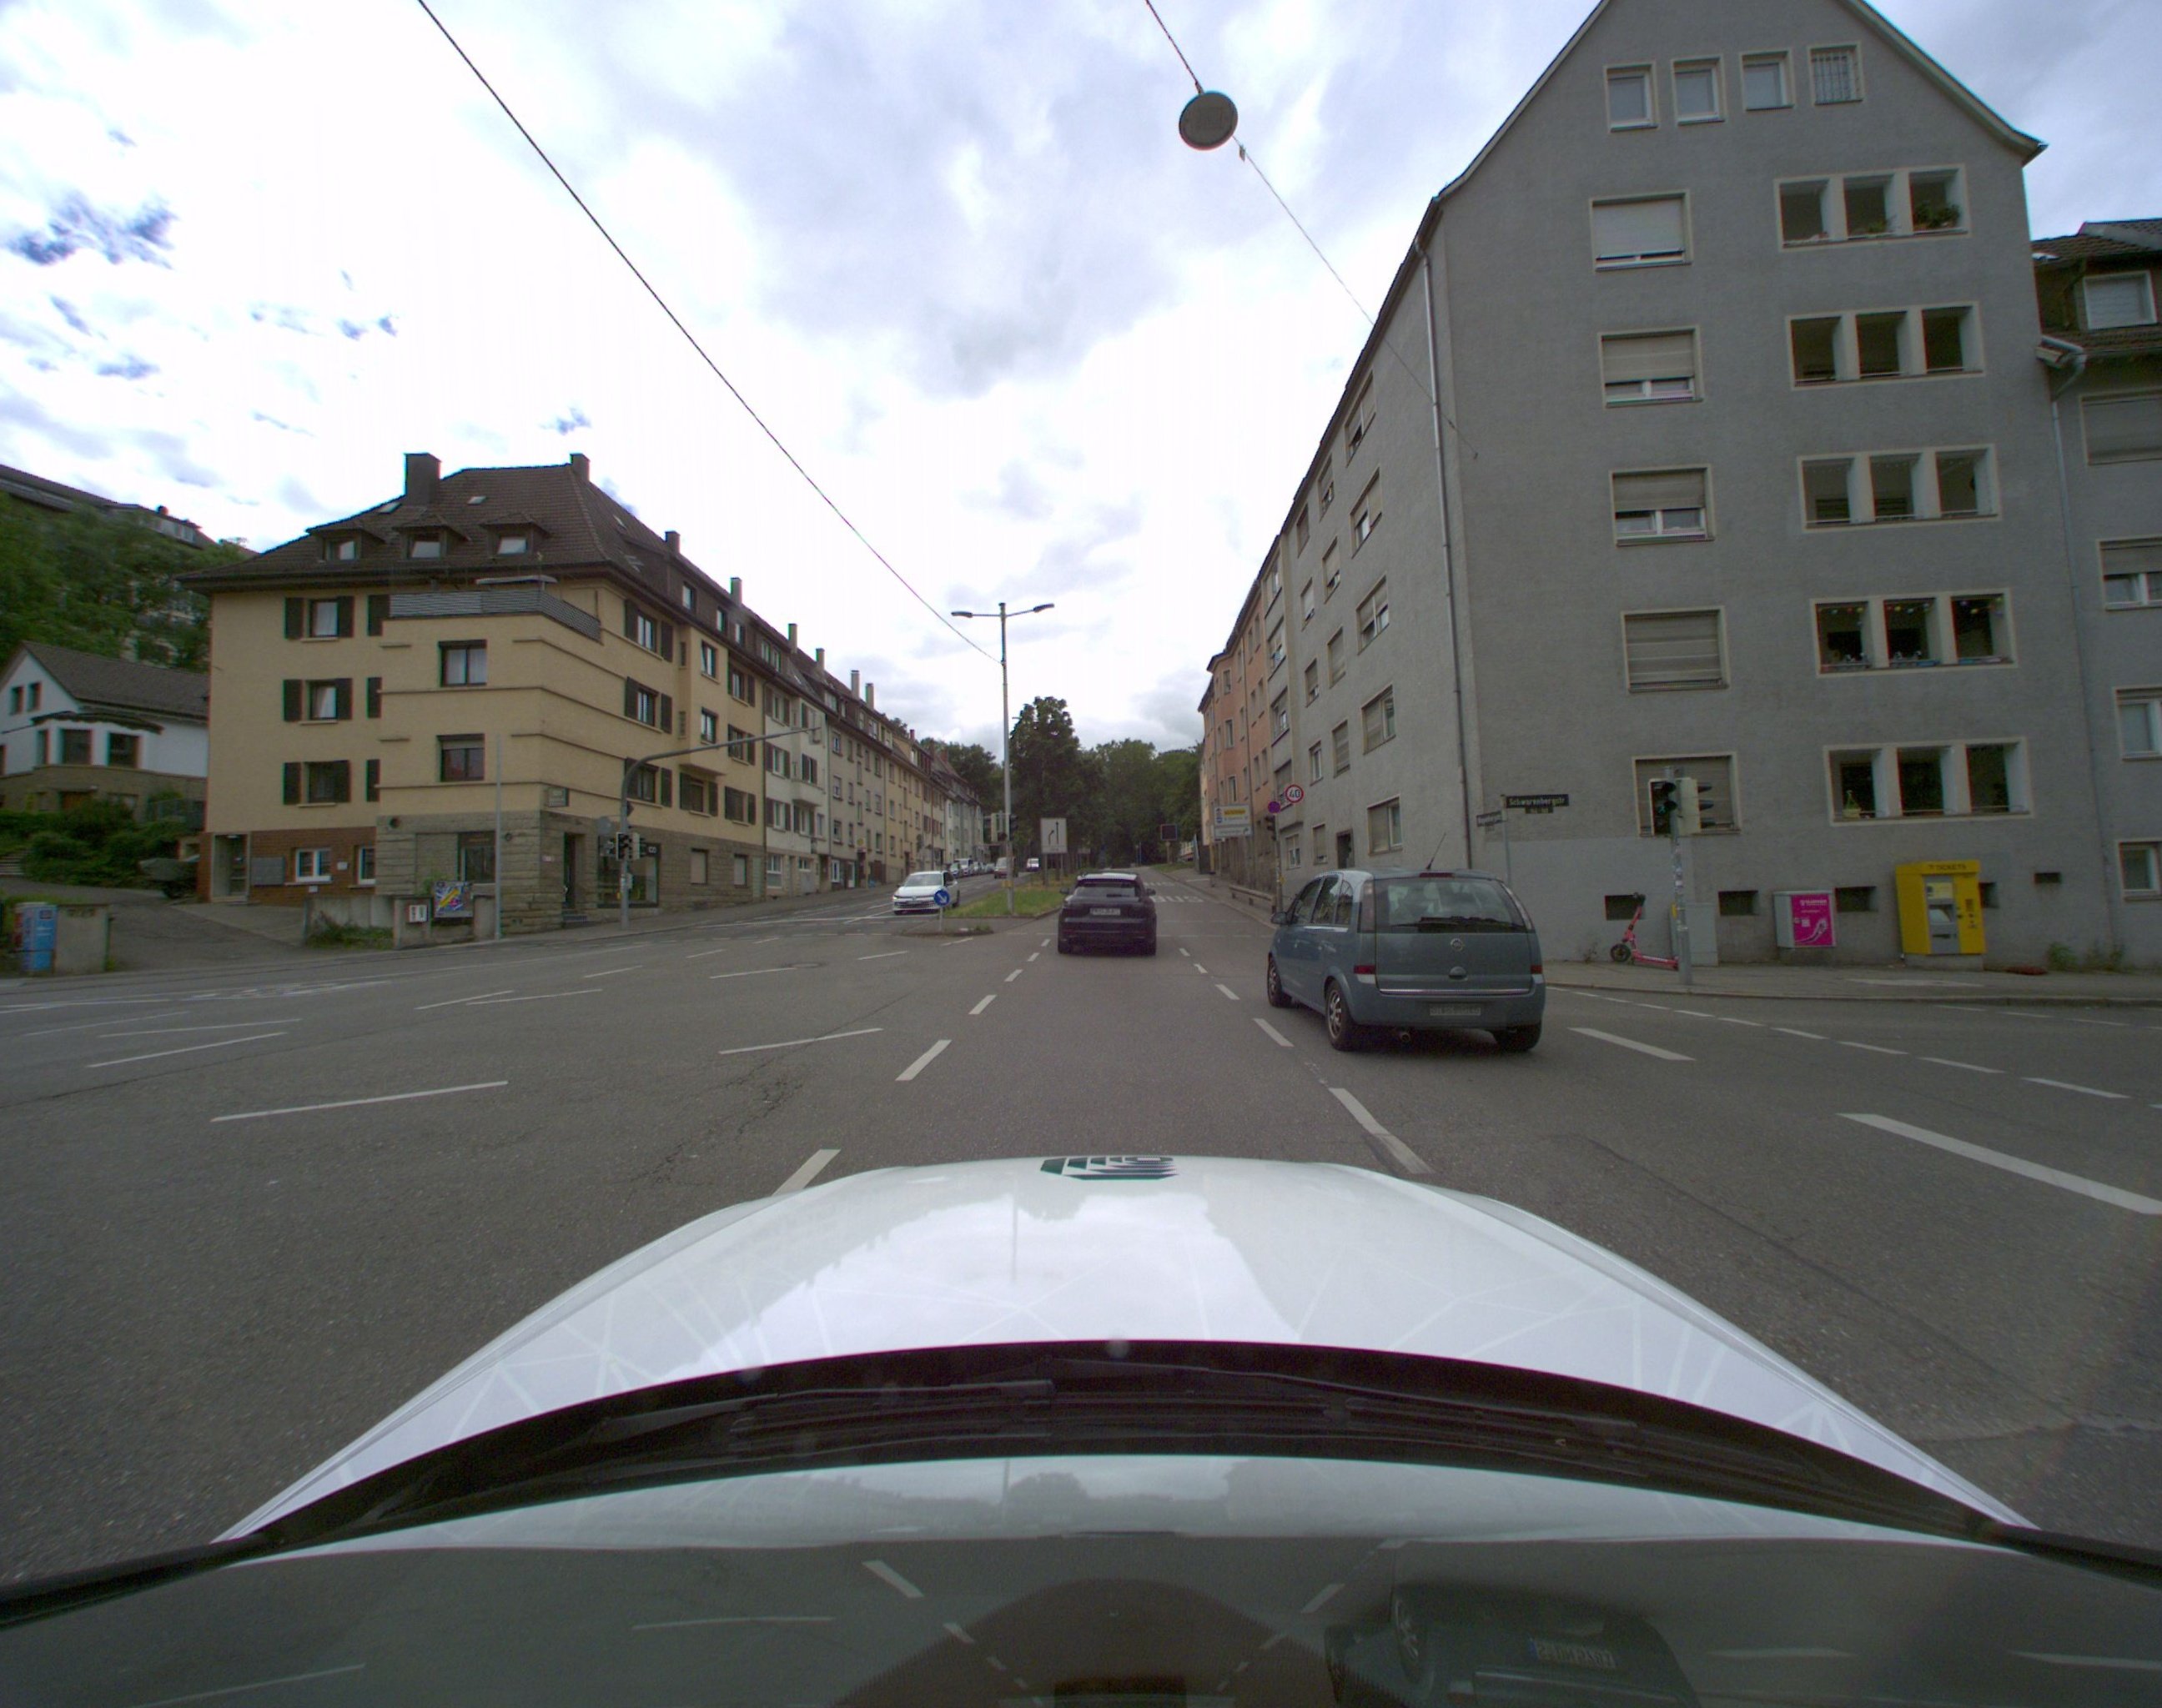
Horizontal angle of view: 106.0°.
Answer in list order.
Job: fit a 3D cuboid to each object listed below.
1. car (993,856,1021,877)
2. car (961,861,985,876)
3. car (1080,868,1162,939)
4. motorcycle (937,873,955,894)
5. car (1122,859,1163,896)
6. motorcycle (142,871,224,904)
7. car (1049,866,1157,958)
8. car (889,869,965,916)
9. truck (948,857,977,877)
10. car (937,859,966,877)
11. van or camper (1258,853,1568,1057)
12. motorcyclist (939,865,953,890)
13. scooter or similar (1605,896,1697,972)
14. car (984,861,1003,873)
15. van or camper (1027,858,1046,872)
[{"bbox_3d":[-6.608,1.090,72.809,1.871,1.816,4.355,-1,-1,3],"label":"car"},{"bbox_3d":[-11.875,1.562,89.674,1.986,1.552,4.383,-2,-1,1],"label":"car"},{"bbox_3d":[1.116,1.247,21.970,1.926,1.653,4.004,-3,-1,4],"label":"car"},{"bbox_3d":[-7.994,1.744,48.240,0.542,1.185,2.206,-1,-2,3],"label":"motorcycle"},{"bbox_3d":[3.095,1.135,41.277,1.926,1.653,4.004,-3,0,4],"label":"car"},{"bbox_3d":[-31.907,1.161,28.978,0.556,1.134,2.048,0,-1,4],"label":"motorcycle"},{"bbox_3d":[0.549,1.152,17.508,1.985,1.653,4.003,-3,-1,4],"label":"car"},{"bbox_3d":[-5.512,1.344,29.783,1.739,1.467,4.587,-2,-1,2],"label":"car"},{"bbox_3d":[-12.190,1.308,83.966,1.986,1.920,5.348,-2,-1,1],"label":"truck"},{"bbox_3d":[-12.310,1.353,77.768,1.986,1.552,4.159,-2,-1,1],"label":"car"},{"bbox_3d":[2.980,0.858,8.183,1.729,1.578,3.646,0,-2,2],"label":"van or camper"},{"bbox_3d":[-8.002,1.384,48.316,0.670,1.475,0.662,-1,-2,3],"label":"motorcyclist"},{"bbox_3d":[9.821,1.346,14.036,1.239,1.216,0.605,-1,-2,38],"label":"scooter or similar"},{"bbox_3d":[-11.163,1.708,103.883,1.988,1.423,4.209,-2,-1,-2],"label":"car"},{"bbox_3d":[-5.769,1.380,105.886,1.900,1.761,4.657,-1,-1,3],"label":"van or camper"}]
